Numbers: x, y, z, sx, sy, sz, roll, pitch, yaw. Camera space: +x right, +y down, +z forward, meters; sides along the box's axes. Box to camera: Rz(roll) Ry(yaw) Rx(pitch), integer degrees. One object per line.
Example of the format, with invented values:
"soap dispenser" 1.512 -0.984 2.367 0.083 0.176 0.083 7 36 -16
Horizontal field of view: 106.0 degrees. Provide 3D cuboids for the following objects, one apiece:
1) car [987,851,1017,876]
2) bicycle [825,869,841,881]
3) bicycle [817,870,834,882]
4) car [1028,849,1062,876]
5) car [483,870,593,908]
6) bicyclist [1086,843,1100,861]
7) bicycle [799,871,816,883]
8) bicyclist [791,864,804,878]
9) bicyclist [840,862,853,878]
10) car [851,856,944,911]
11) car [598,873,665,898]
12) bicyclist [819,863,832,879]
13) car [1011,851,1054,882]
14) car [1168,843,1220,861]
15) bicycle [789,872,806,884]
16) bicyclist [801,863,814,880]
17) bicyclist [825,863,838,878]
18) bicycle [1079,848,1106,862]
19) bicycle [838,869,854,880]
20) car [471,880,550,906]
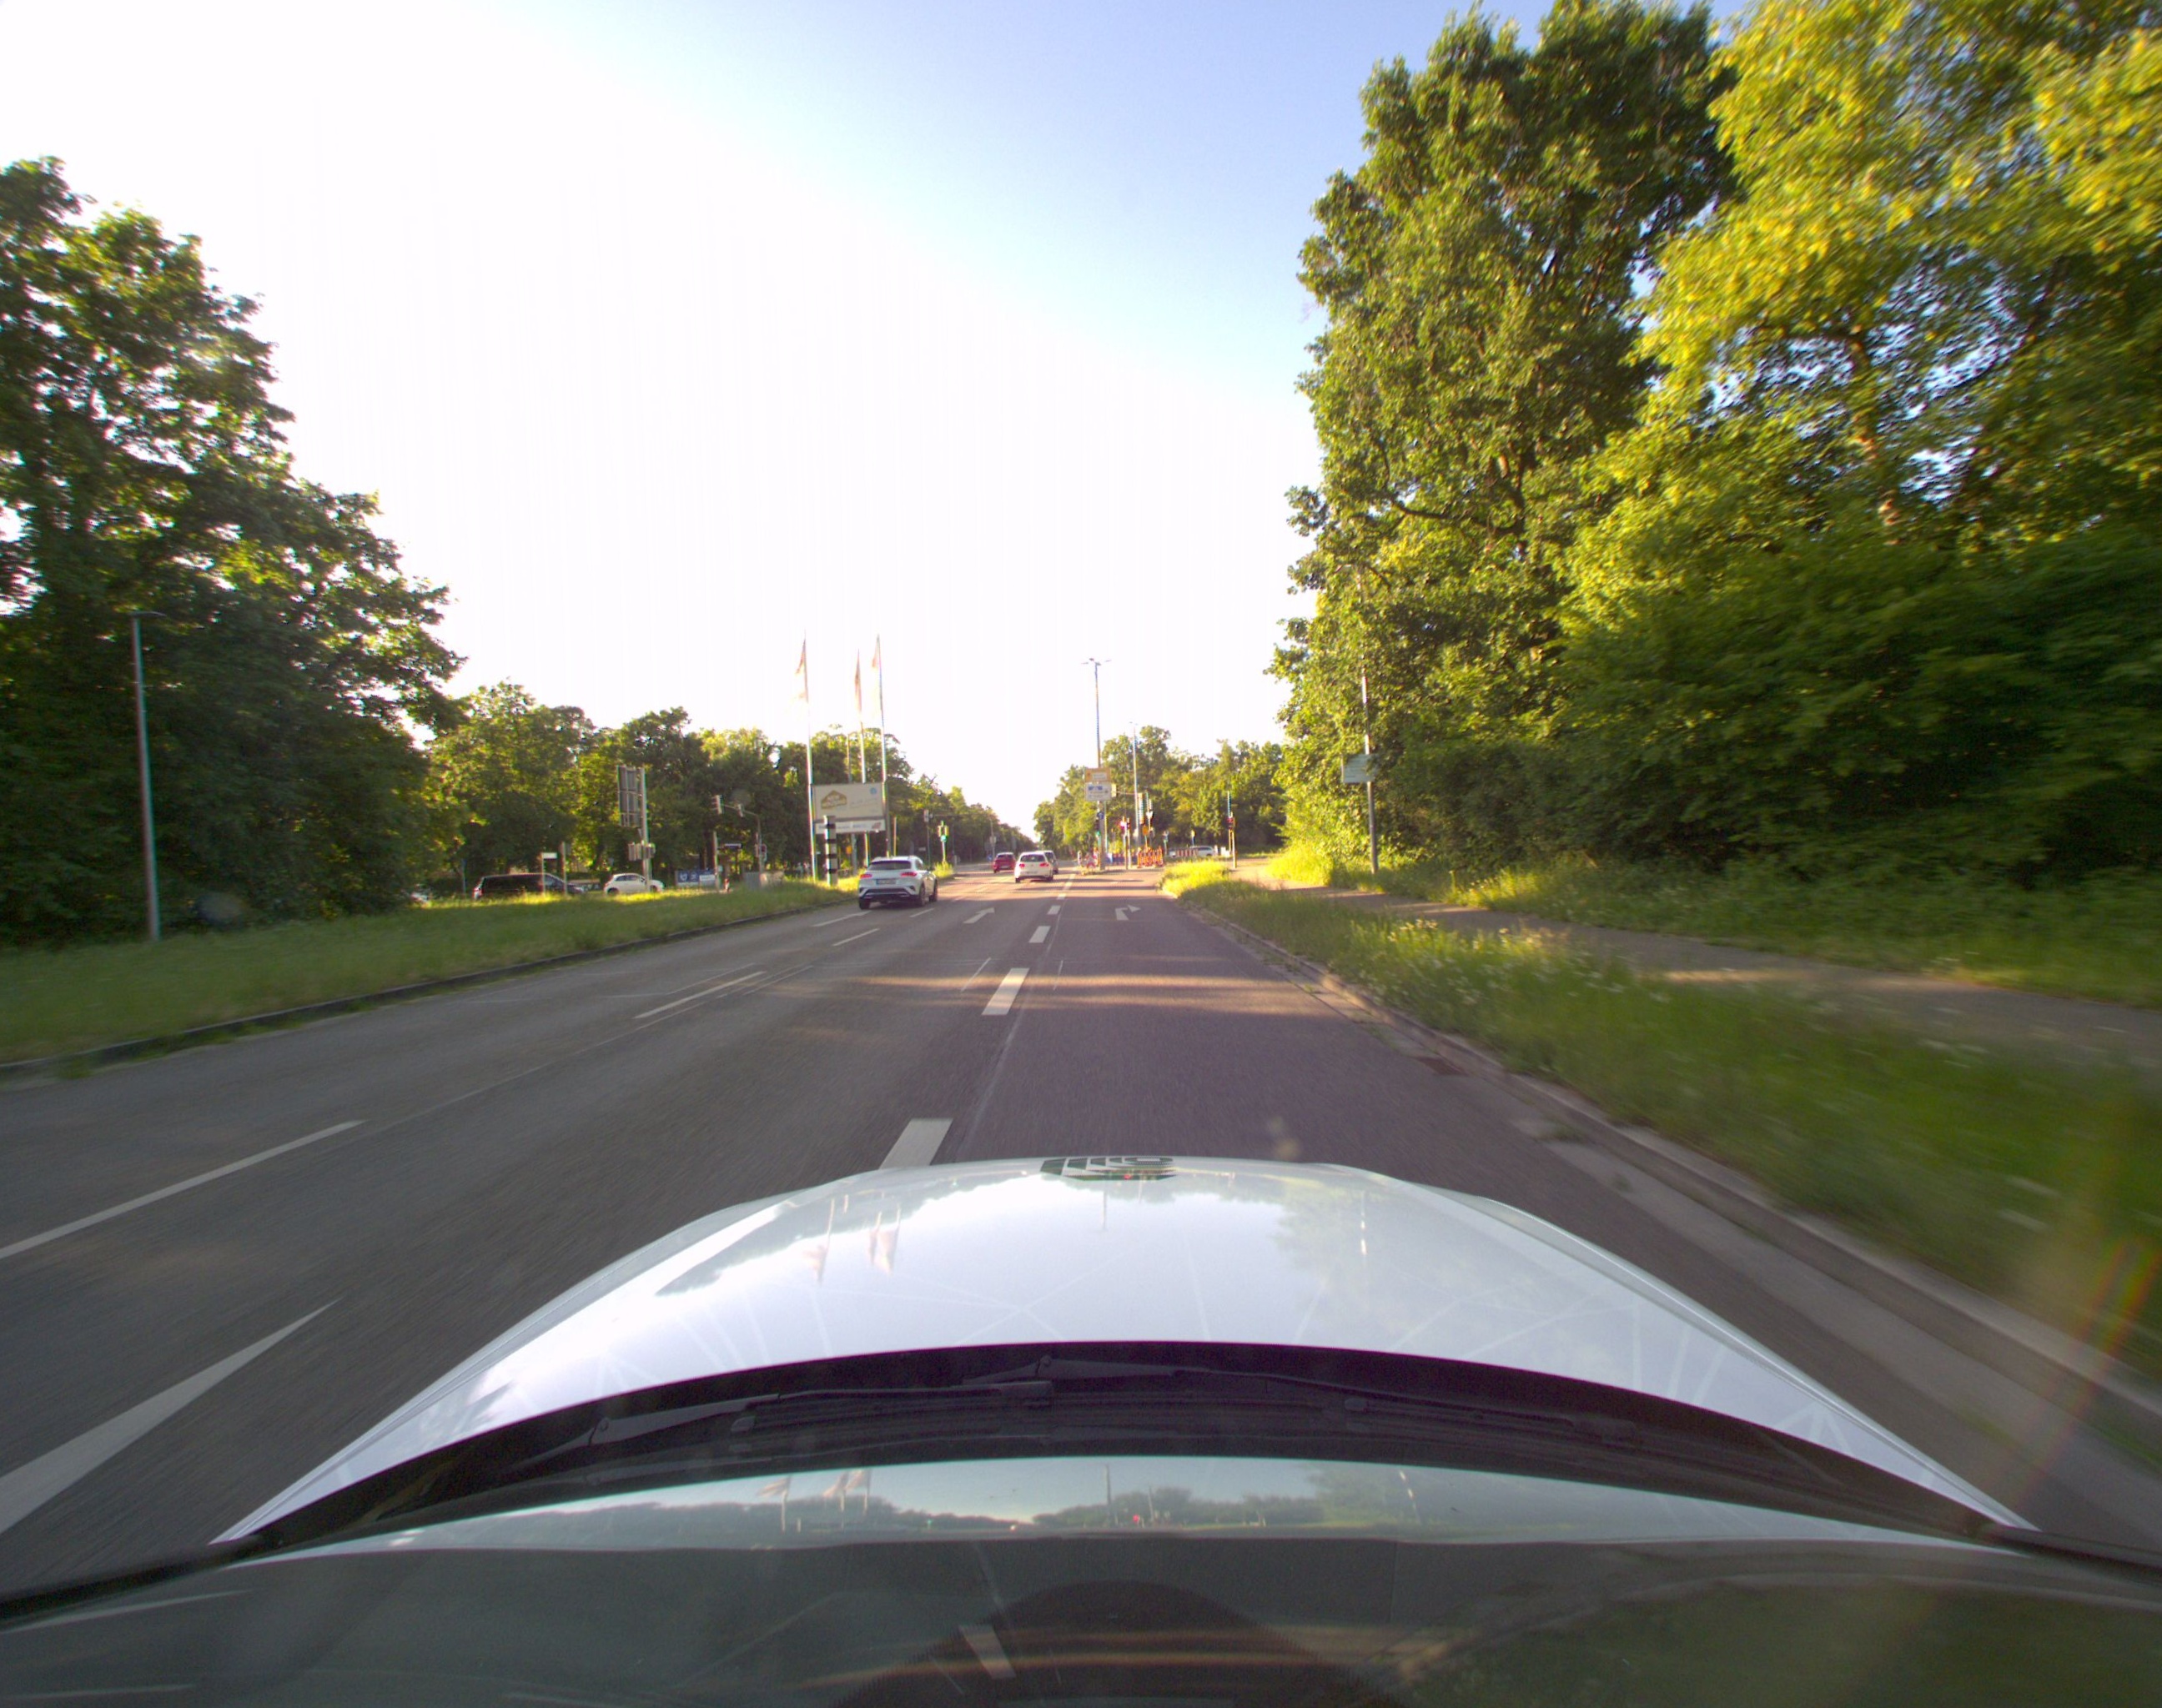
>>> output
"car" -5.838 0.677 60.674 1.990 1.684 3.994 -3 0 -4
"bicycle" -22.486 1.901 73.972 0.712 0.914 1.912 -3 0 3
"bicycle" -22.564 1.917 71.880 0.712 0.914 1.912 -3 0 3
"car" -2.295 0.510 50.919 1.990 1.536 3.994 -3 0 -4
"car" -31.147 1.985 46.890 4.943 1.829 1.912 -3 0 -26
"bicyclist" 1.236 -0.218 85.646 1.020 1.929 0.959 -2 0 -32
"bicycle" -23.815 2.019 71.030 0.712 0.914 1.912 -3 0 3
"bicyclist" -24.750 1.465 71.100 0.712 1.192 0.991 -3 0 3
"bicyclist" -20.705 1.425 71.883 0.712 1.339 0.991 -3 0 3
"car" -5.407 0.821 24.489 1.857 1.444 3.999 -2 0 0
"car" -30.112 2.102 54.697 3.807 1.389 1.912 -3 0 -26
"bicyclist" -22.584 1.483 71.877 0.712 1.355 0.991 -3 0 3
"car" -2.418 0.618 41.427 1.934 1.414 3.998 -3 0 -1
"car" 11.470 -0.231 82.346 4.837 1.580 1.985 -3 0 -22
"bicycle" -24.720 2.056 71.099 0.712 0.914 1.913 -3 1 3
"bicyclist" -23.844 1.538 70.997 0.707 1.389 0.991 -3 0 3
"bicyclist" -22.534 1.464 73.514 0.712 1.342 0.991 -3 0 3
"bicycle" 1.201 0.078 85.610 2.650 1.383 0.958 -2 0 -32
"bicycle" -20.692 1.819 71.824 0.712 0.914 1.912 -3 0 3
"car" -36.304 2.448 51.896 3.807 1.389 1.838 -3 0 -26
